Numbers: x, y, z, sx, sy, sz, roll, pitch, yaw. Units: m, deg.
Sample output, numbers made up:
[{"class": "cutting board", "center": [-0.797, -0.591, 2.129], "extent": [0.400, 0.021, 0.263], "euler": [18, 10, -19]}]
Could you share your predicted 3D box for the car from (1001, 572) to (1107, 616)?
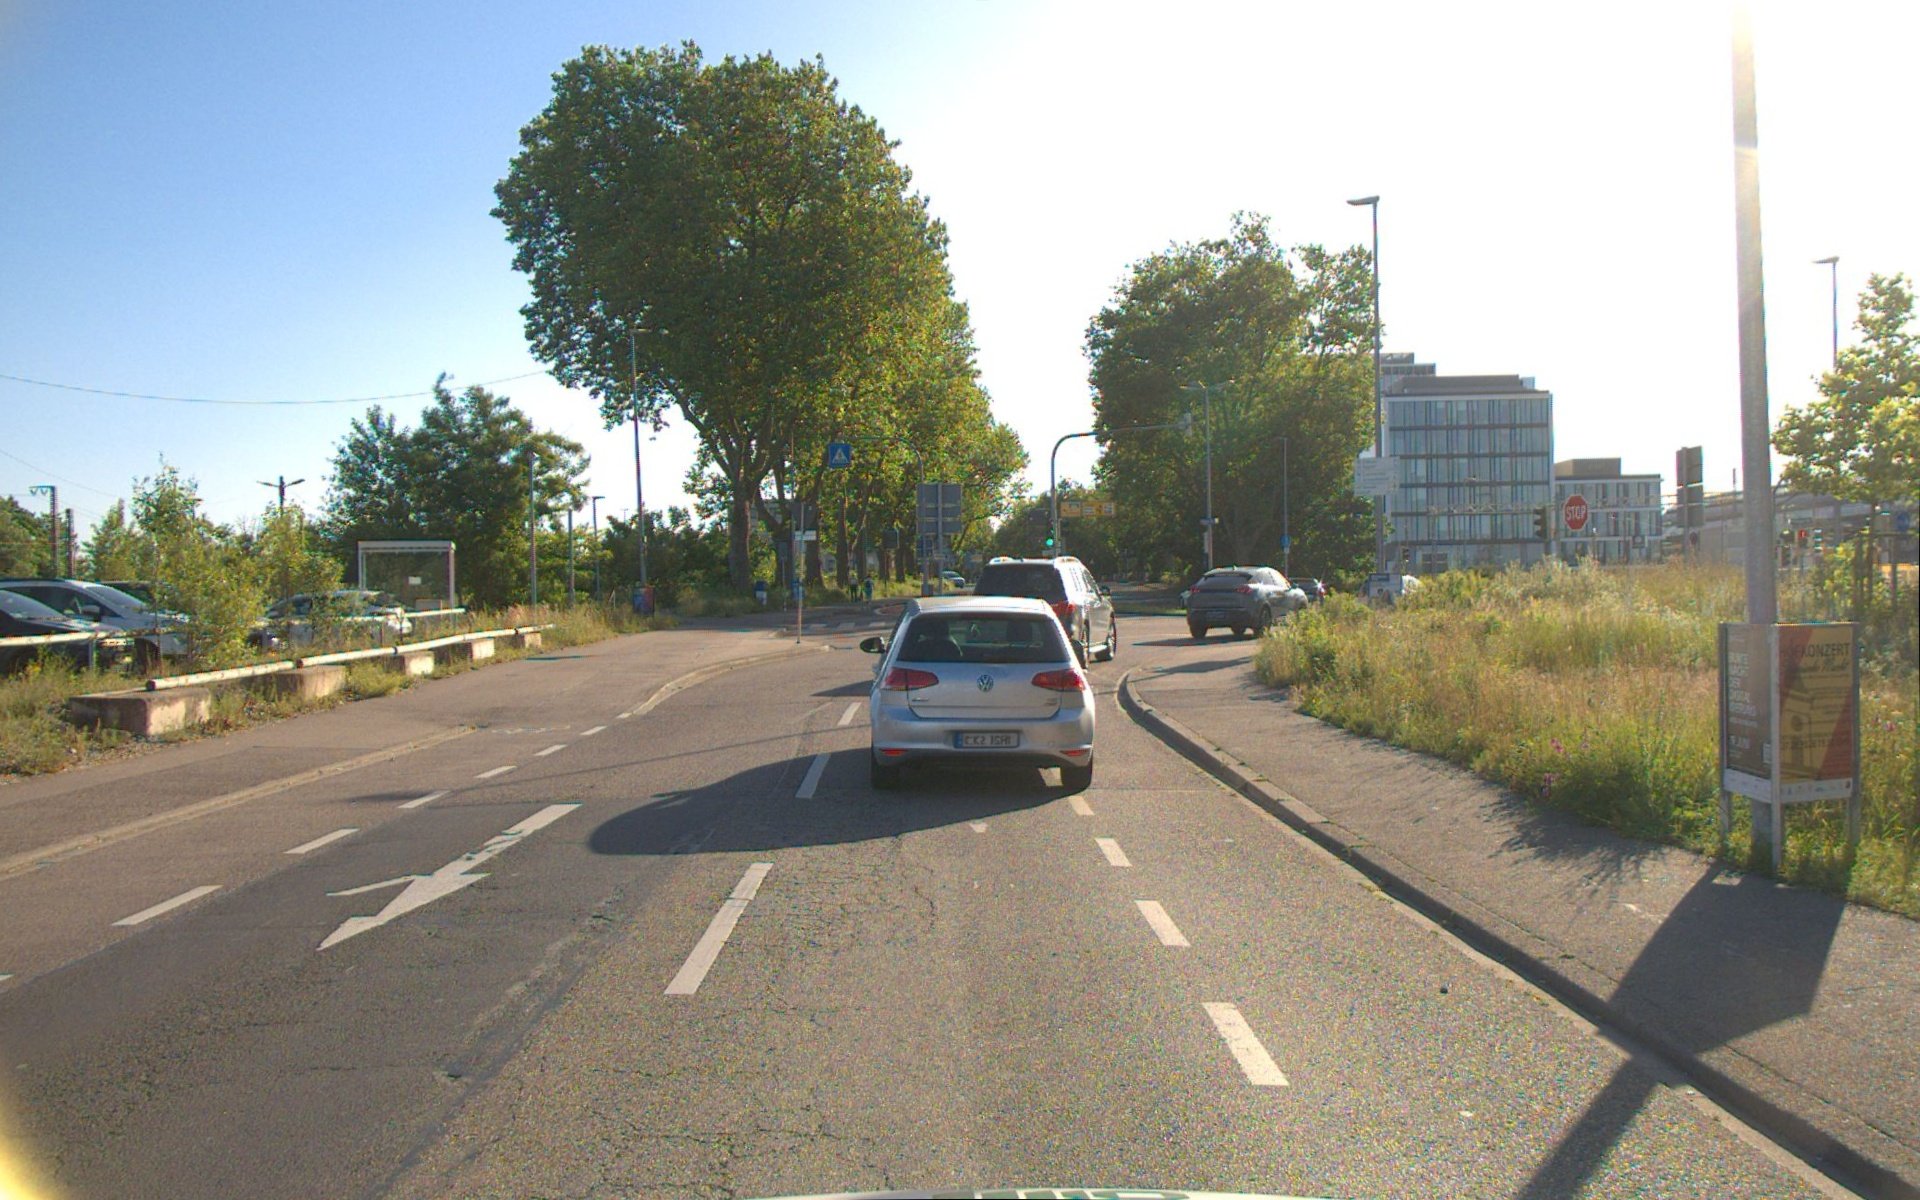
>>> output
[{"class": "car", "center": [3.597, -0.239, 63.694], "extent": [1.980, 1.624, 3.945], "euler": [-1, 0, -38]}]

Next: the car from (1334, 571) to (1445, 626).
[{"class": "car", "center": [13.113, -0.062, 50.359], "extent": [1.868, 1.624, 3.983], "euler": [0, 0, 38]}]

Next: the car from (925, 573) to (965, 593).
[{"class": "car", "center": [-1.682, -1.851, 180.599], "extent": [3.909, 2.049, 1.998], "euler": [0, 0, 27]}]

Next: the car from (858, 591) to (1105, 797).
[{"class": "car", "center": [0.212, 0.661, 13.772], "extent": [1.753, 1.445, 4.001], "euler": [0, 0, 2]}]

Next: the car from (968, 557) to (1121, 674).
[{"class": "car", "center": [1.527, 0.218, 27.960], "extent": [1.780, 1.799, 4.633], "euler": [0, 0, 13]}]

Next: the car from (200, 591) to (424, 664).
[{"class": "car", "center": [-14.654, 0.609, 37.569], "extent": [4.336, 1.585, 1.877], "euler": [0, 0, -2]}]

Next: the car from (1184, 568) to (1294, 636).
[{"class": "car", "center": [6.820, 0.021, 40.091], "extent": [1.874, 1.556, 4.408], "euler": [0, 0, 20]}]

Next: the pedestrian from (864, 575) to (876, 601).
[{"class": "pedestrian", "center": [-4.985, -0.664, 91.640], "extent": [0.664, 1.439, 0.684], "euler": [0, 0, -1]}]

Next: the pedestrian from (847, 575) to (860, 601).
[{"class": "pedestrian", "center": [-5.904, -0.658, 91.801], "extent": [0.664, 1.439, 0.684], "euler": [0, 0, -1]}]

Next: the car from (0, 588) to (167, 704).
[{"class": "car", "center": [-13.734, 0.625, 23.493], "extent": [4.006, 1.585, 1.877], "euler": [0, 0, -2]}]

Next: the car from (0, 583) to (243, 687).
[{"class": "car", "center": [-14.042, 0.533, 26.291], "extent": [4.451, 1.585, 1.877], "euler": [0, 0, -2]}]

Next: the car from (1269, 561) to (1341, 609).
[{"class": "car", "center": [13.441, -0.551, 64.673], "extent": [1.953, 1.758, 3.999], "euler": [0, -1, -1]}]
